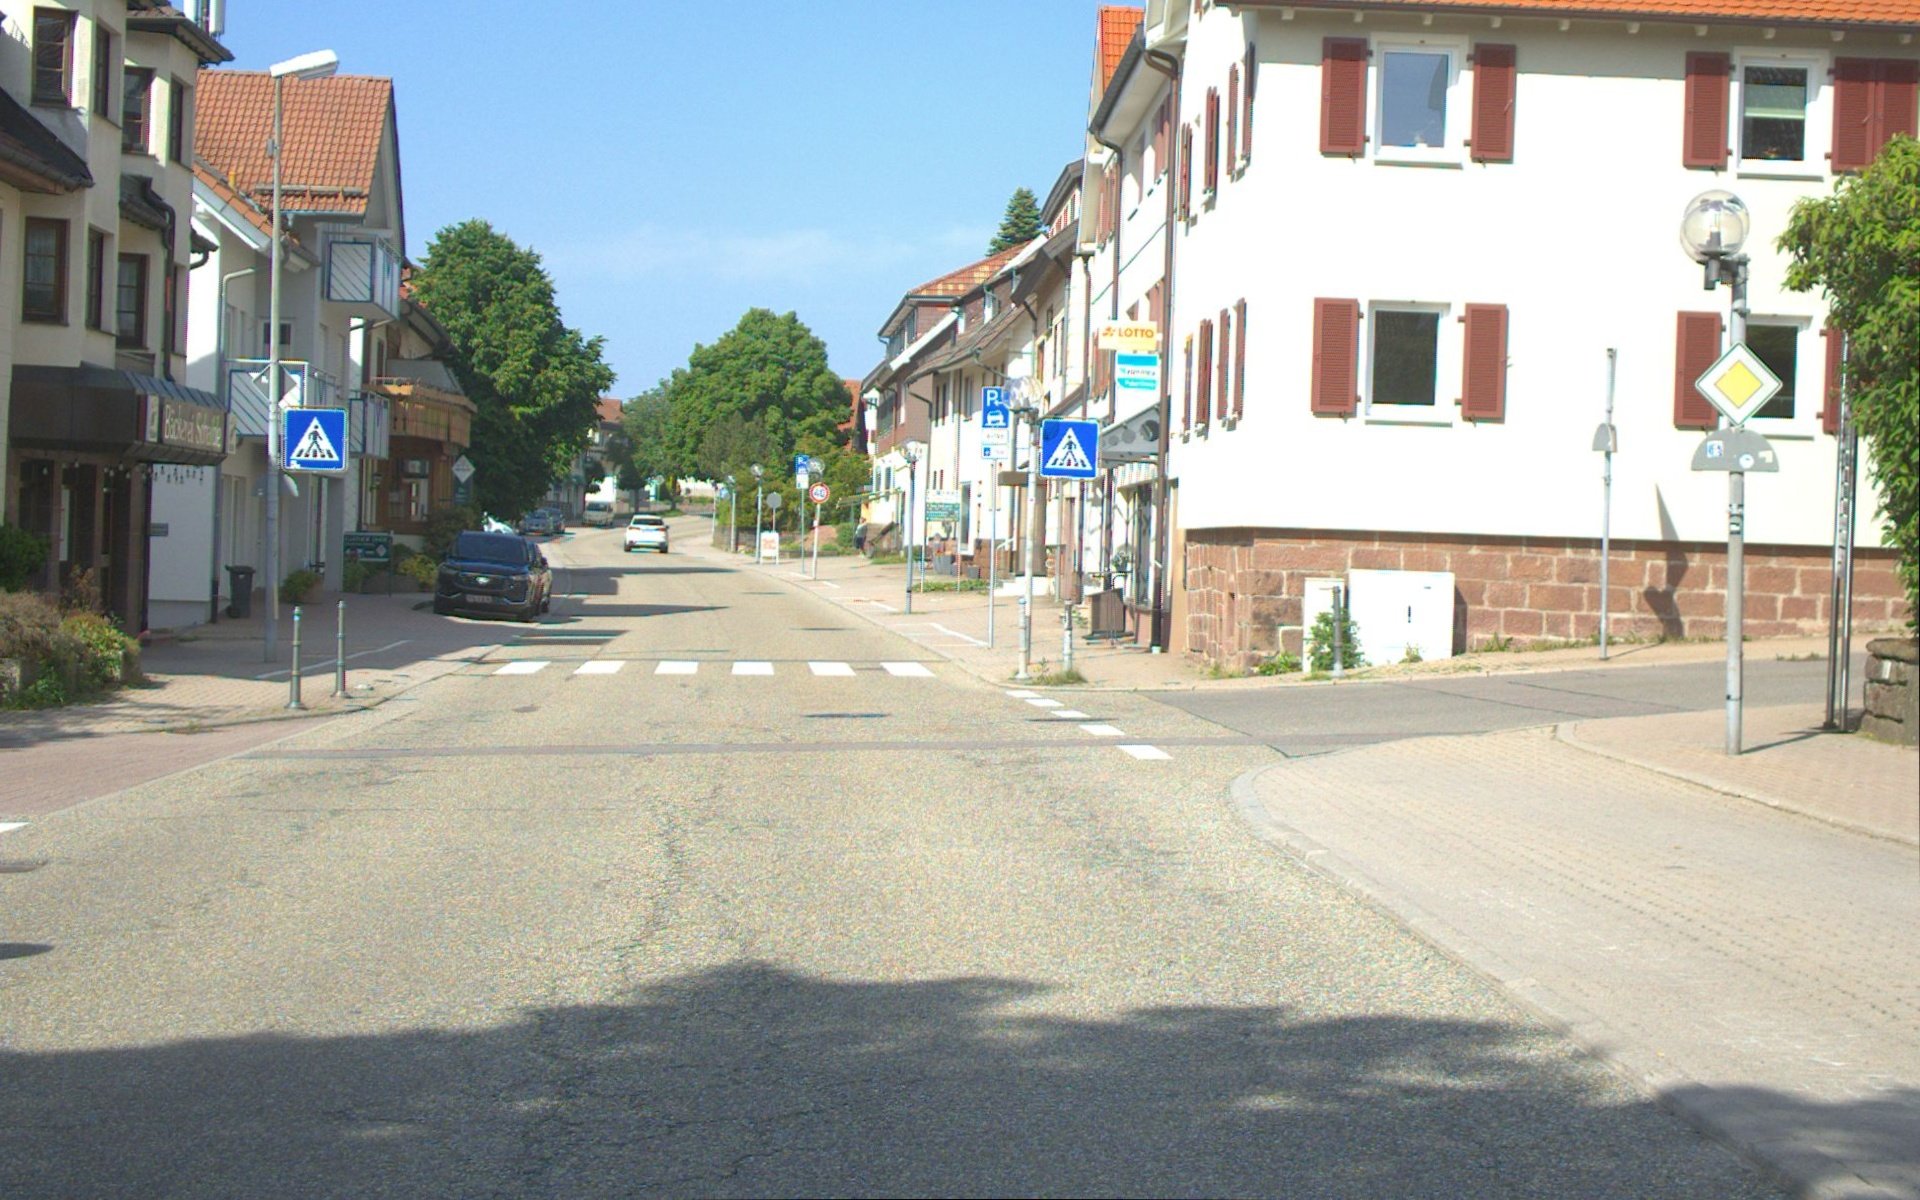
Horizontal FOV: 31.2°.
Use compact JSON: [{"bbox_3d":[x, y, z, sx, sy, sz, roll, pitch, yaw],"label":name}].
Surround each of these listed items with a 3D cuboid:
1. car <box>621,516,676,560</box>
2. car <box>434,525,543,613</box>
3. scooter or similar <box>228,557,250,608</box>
[{"bbox_3d":[-14.610,-2.890,161.163,2.495,2.007,4.305,-1,1,-5],"label":"car"},{"bbox_3d":[-9.129,-0.617,66.764,1.672,1.528,3.536,5,1,-3],"label":"car"},{"bbox_3d":[-12.805,-0.310,61.039,0.351,0.887,0.395,-1,1,-9],"label":"scooter or similar"}]
